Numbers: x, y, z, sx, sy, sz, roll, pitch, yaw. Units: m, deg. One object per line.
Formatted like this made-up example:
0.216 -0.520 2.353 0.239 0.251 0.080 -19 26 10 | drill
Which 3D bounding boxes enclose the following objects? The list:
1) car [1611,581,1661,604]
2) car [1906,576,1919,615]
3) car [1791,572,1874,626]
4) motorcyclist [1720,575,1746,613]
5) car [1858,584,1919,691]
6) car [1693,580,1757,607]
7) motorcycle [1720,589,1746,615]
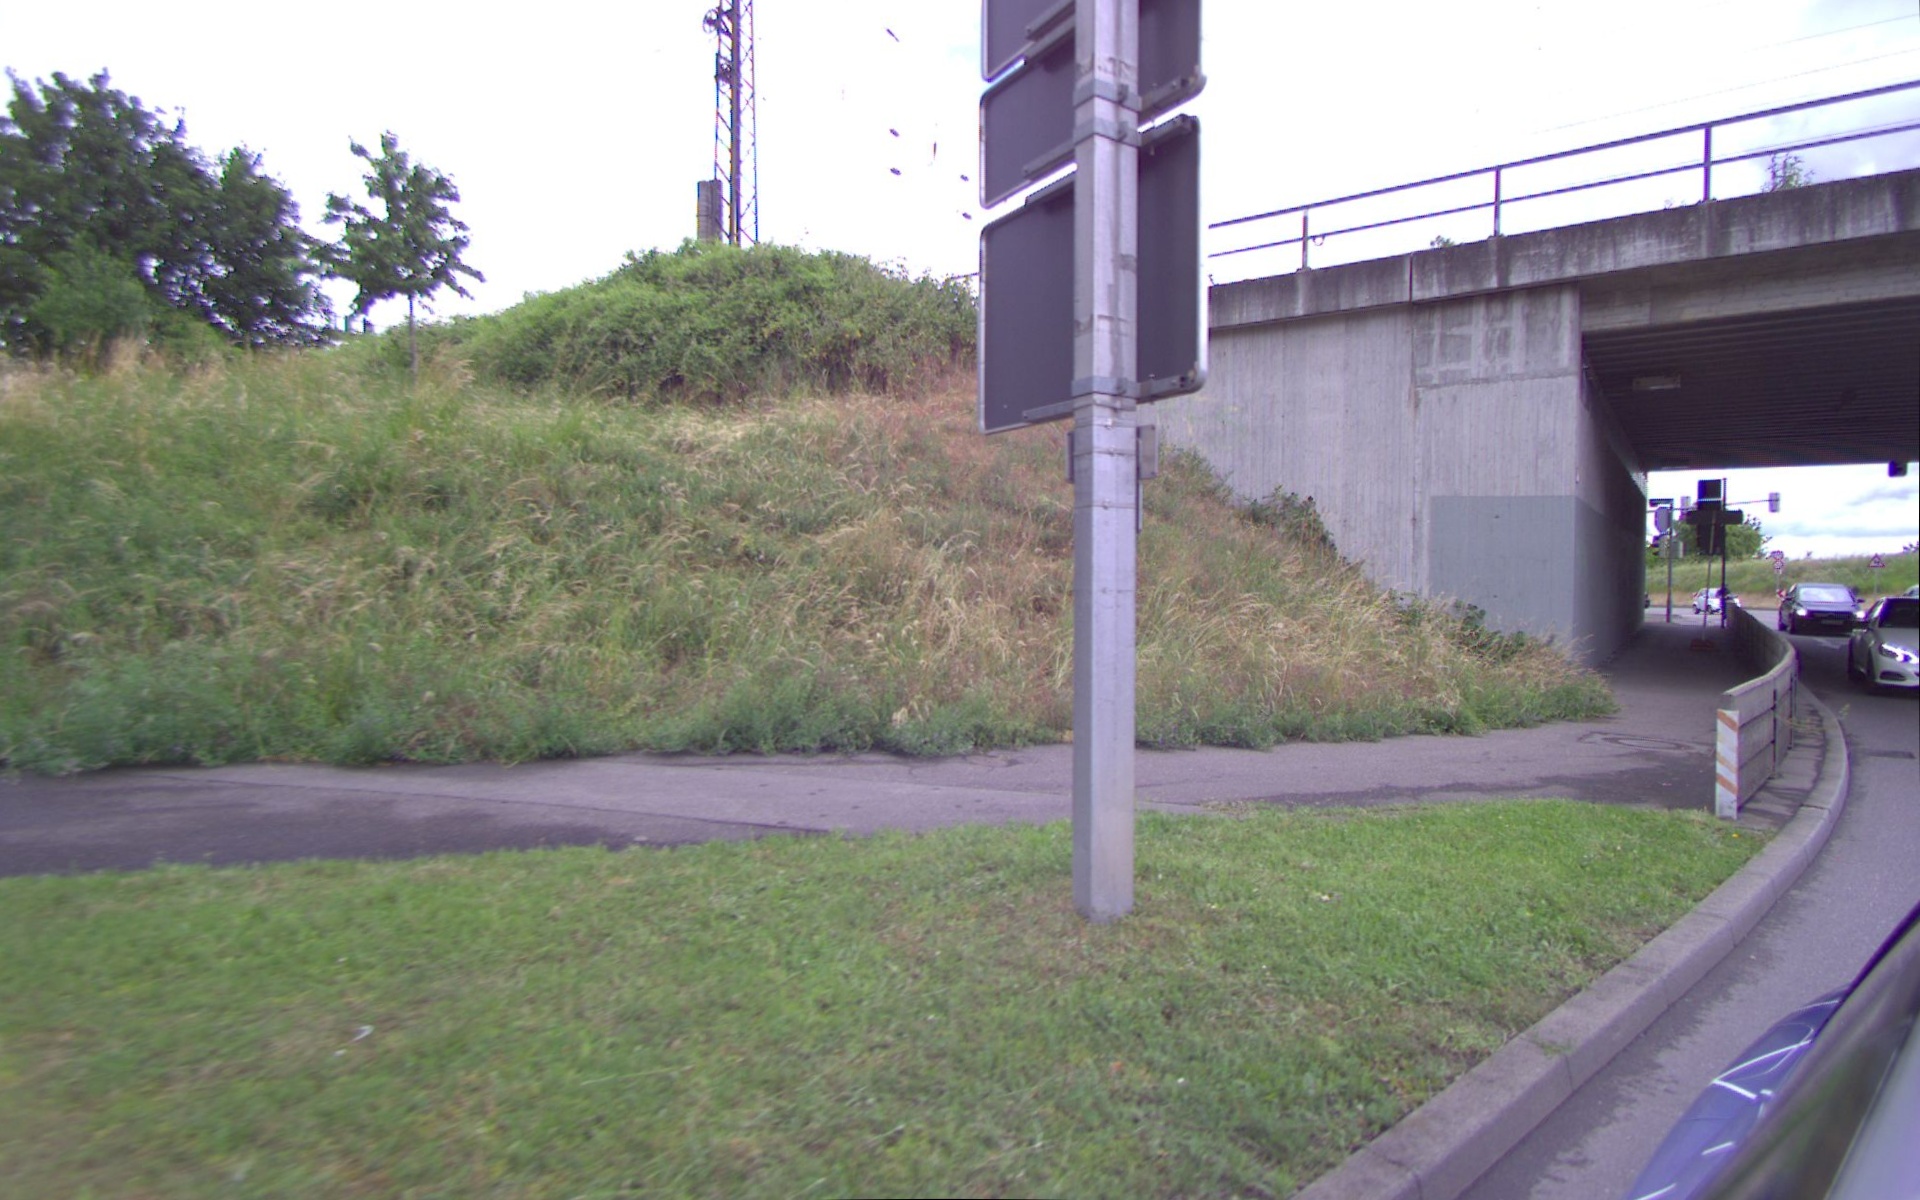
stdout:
50.897 -0.541 76.229 1.732 1.689 3.875 0 0 11 | car
42.362 -0.185 43.529 1.747 1.689 3.841 0 -1 33 | car
26.981 -0.013 31.384 1.751 1.560 3.944 0 -1 38 | car
33.872 -0.250 44.350 0.878 1.625 1.226 0 -1 38 | motorcyclist
15.056 0.530 15.341 1.896 1.499 4.037 0 -1 38 | car
44.863 -0.367 59.459 1.736 1.511 3.977 0 0 18 | car
33.946 0.109 44.434 0.878 1.118 2.328 0 -1 38 | motorcycle
